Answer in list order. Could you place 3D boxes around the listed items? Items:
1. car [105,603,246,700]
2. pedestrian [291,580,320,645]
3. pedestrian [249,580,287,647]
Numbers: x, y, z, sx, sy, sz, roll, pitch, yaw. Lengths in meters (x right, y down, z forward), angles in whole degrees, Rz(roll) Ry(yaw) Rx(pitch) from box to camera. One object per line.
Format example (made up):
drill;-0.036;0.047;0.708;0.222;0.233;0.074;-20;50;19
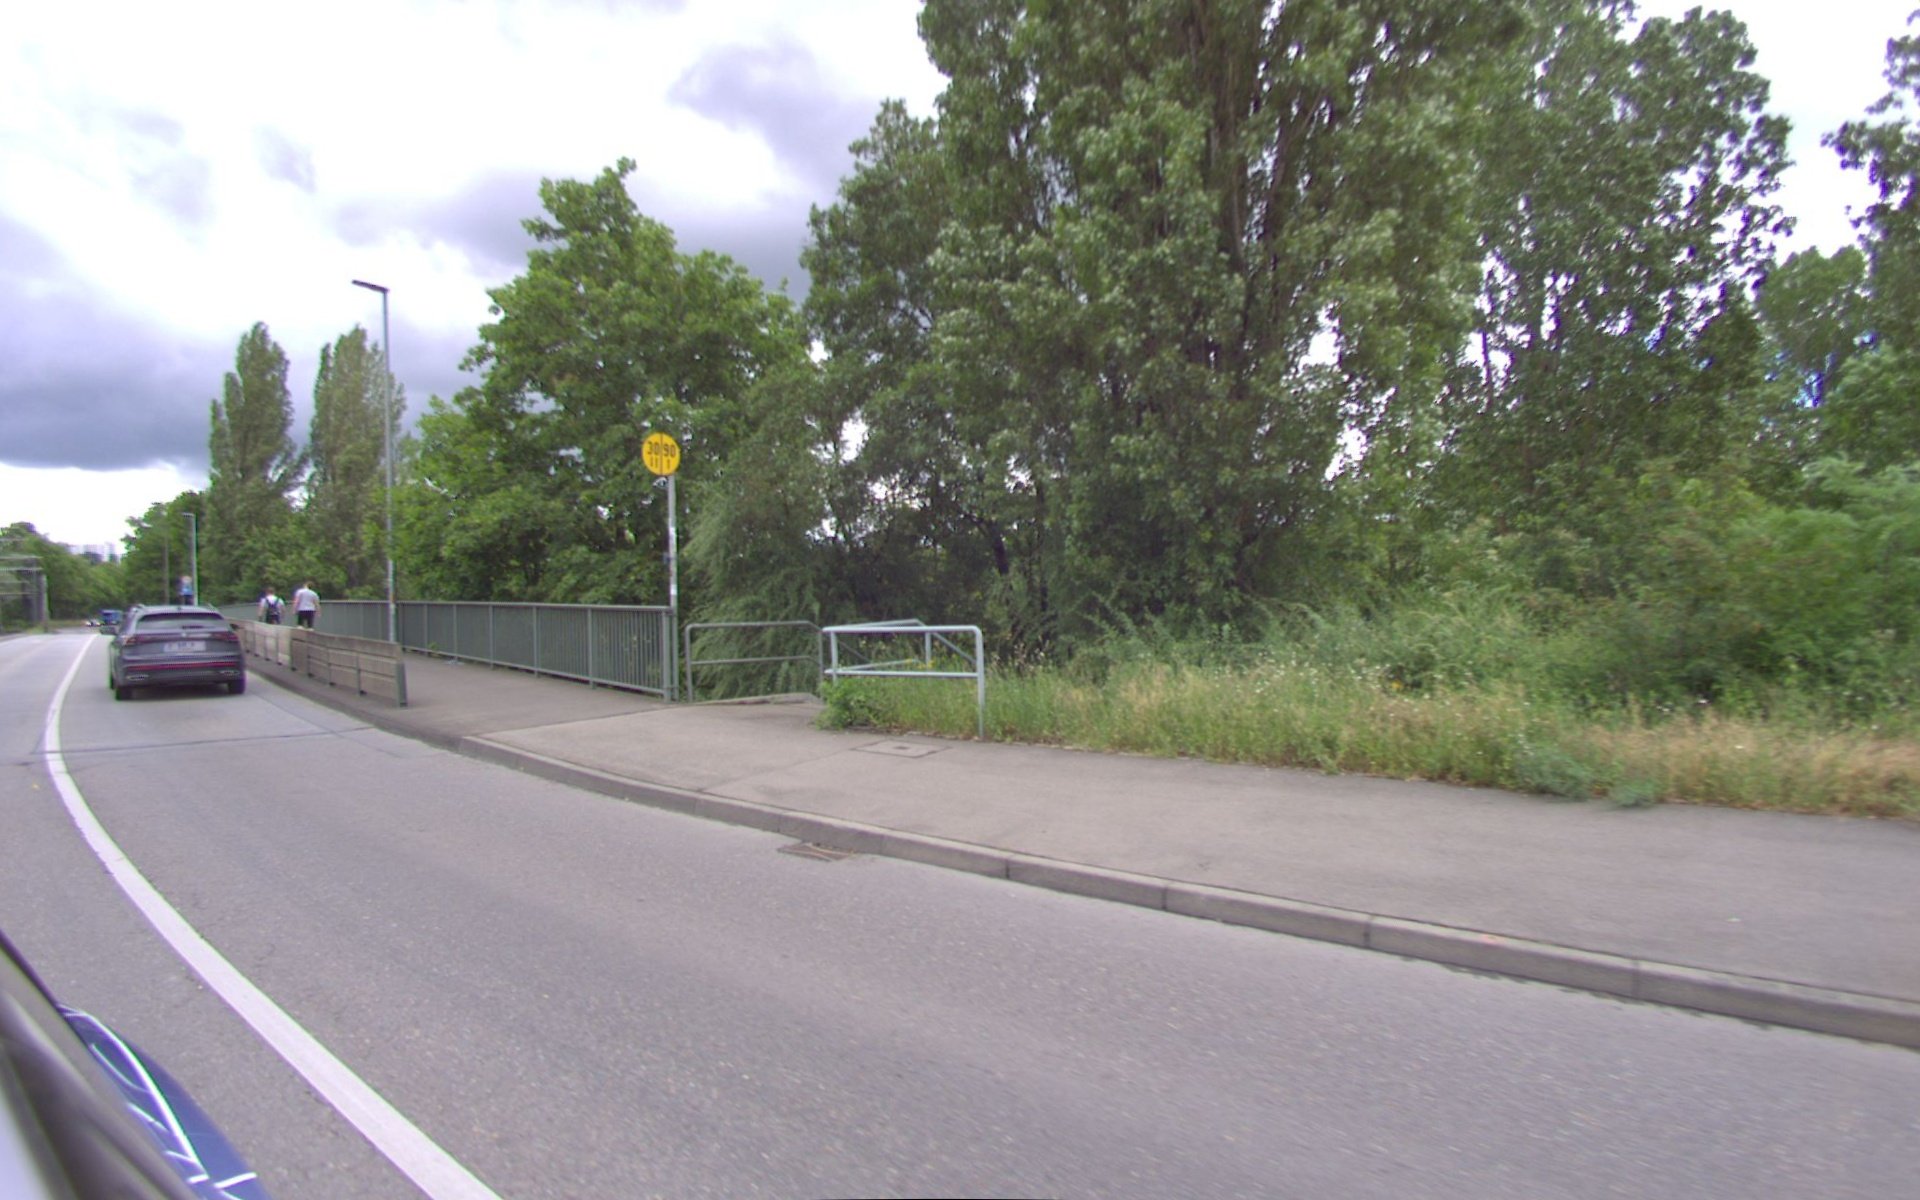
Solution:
car;-13.521;0.805;17.362;1.695;1.479;3.947;1;-1;-41
pedestrian;-18.862;0.347;29.165;0.597;1.841;0.557;-3;2;-39
pedestrian;-19.701;0.373;28.810;0.770;1.841;0.727;-3;2;-39
